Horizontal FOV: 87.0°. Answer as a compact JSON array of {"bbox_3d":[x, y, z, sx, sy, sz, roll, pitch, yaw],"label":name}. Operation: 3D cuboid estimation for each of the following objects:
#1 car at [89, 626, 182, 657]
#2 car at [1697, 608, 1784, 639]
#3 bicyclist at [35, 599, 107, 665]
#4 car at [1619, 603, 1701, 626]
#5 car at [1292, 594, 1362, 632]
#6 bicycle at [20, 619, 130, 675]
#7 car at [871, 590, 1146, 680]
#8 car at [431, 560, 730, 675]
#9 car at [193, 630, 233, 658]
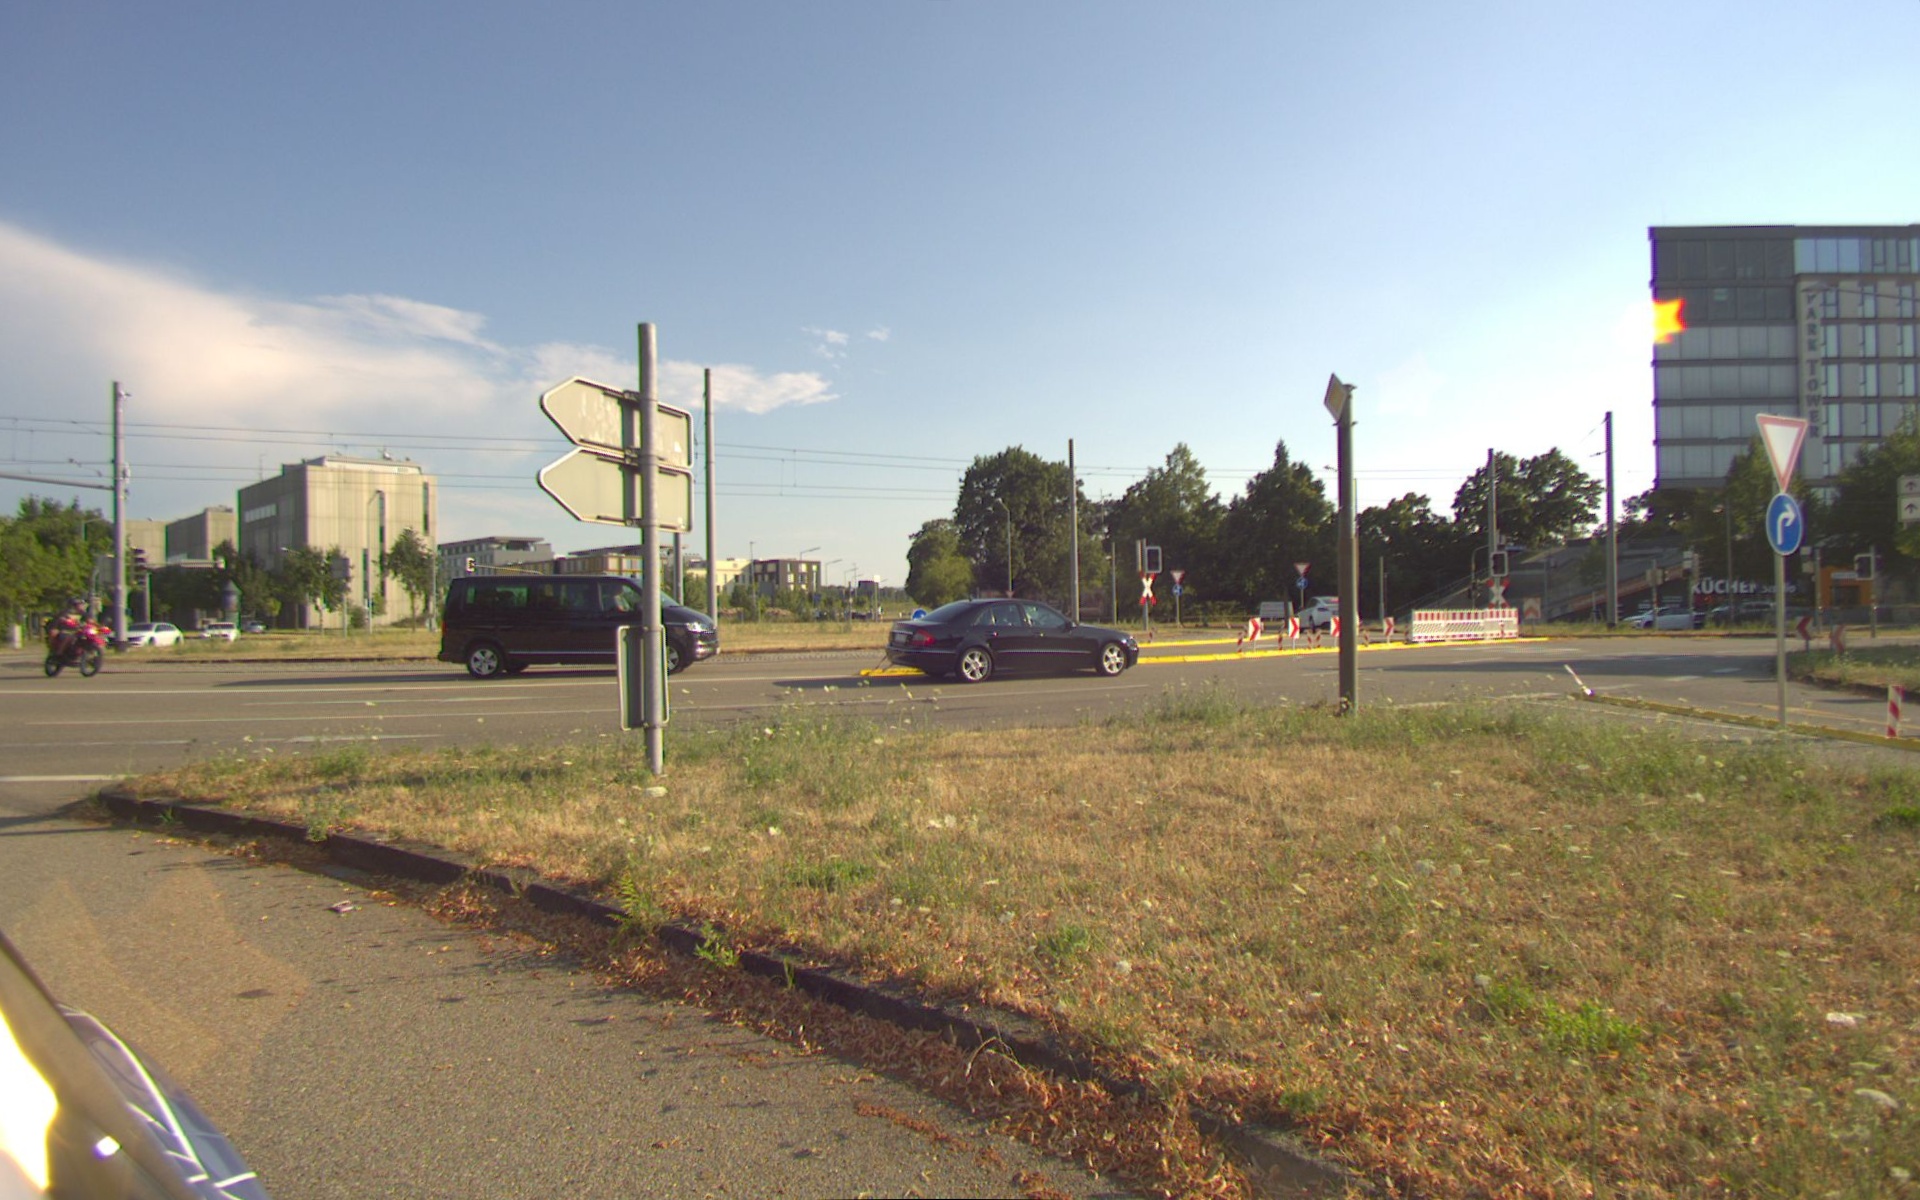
[{"bbox_3d":[-41.814,2.081,51.490,2.059,1.394,4.603,-1,0,-17],"label":"car"},{"bbox_3d":[41.709,1.241,54.132,3.303,1.586,1.558,-1,-1,12],"label":"car"},{"bbox_3d":[-19.830,0.704,22.592,0.764,1.395,0.880,-1,2,13],"label":"bicyclist"},{"bbox_3d":[40.131,0.805,58.037,3.458,1.249,1.657,-1,-1,4],"label":"car"},{"bbox_3d":[16.081,0.548,44.582,1.976,1.586,3.992,-1,0,6],"label":"car"},{"bbox_3d":[-19.673,1.049,22.513,2.010,1.193,0.817,-1,-1,12],"label":"bicycle"},{"bbox_3d":[0.893,0.569,18.309,4.619,1.417,1.849,-1,0,-24],"label":"car"},{"bbox_3d":[-7.385,0.323,20.134,5.168,2.063,2.096,-1,0,-2],"label":"car"},{"bbox_3d":[-47.496,2.780,64.423,1.967,1.652,4.010,-1,-1,-35],"label":"car"}]
